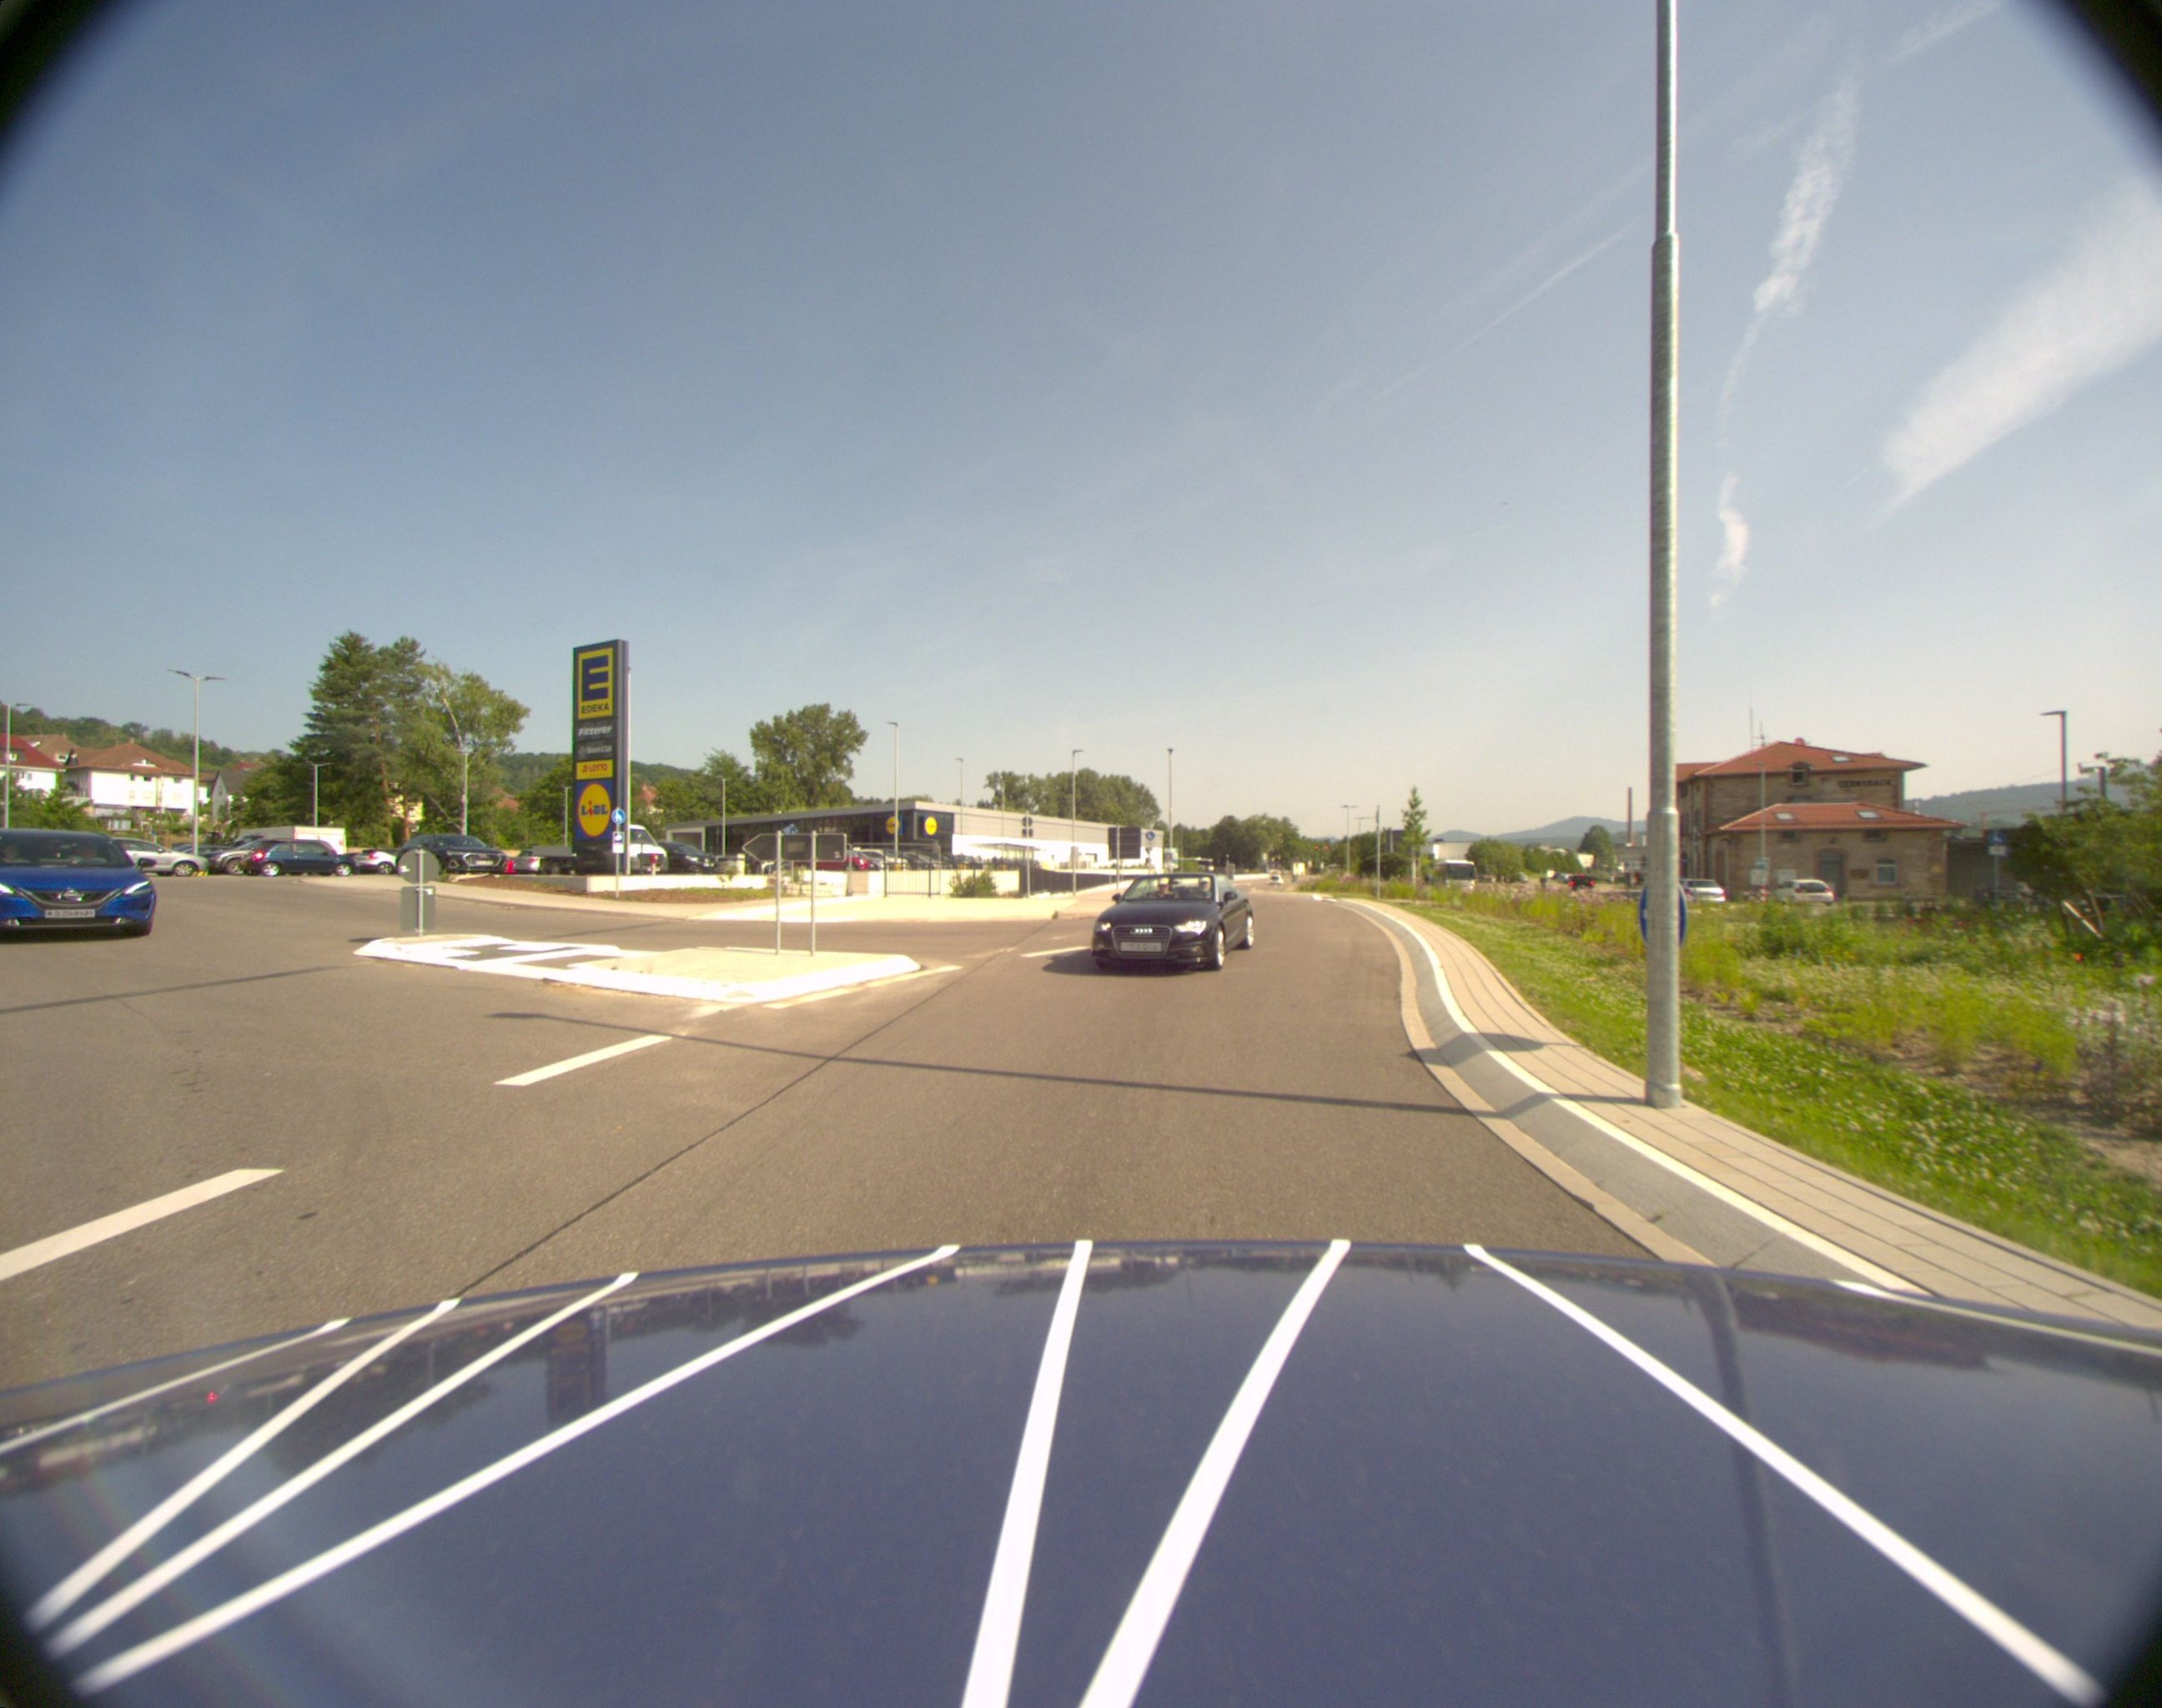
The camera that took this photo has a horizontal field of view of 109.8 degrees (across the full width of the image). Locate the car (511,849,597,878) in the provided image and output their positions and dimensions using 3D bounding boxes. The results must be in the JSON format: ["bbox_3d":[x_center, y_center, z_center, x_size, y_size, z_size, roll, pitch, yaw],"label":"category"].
[{"bbox_3d":[-30.365,0.559,43.902,1.662,1.564,3.793,-3,-1,21],"label":"car"}]

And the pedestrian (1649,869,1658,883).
[{"bbox_3d":[47.792,1.817,63.441,0.511,1.155,0.507,-3,-1,30],"label":"pedestrian"}]

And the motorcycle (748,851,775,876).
[{"bbox_3d":[-15.725,0.468,37.370,0.592,1.184,1.898,0,-2,-42],"label":"motorcycle"}]

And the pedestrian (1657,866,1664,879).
[{"bbox_3d":[51.071,1.632,66.959,0.371,1.155,0.507,-3,-1,30],"label":"pedestrian"}]

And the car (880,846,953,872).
[{"bbox_3d":[-10.984,0.337,50.890,4.411,1.564,1.705,-2,-1,4],"label":"car"}]

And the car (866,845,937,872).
[{"bbox_3d":[-11.438,0.294,48.480,3.996,1.564,1.705,-2,-1,4],"label":"car"}]

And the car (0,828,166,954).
[{"bbox_3d":[-16.929,0.497,12.438,4.339,1.653,1.891,4,1,32],"label":"car"}]

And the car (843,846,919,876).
[{"bbox_3d":[-11.957,0.435,45.467,3.996,1.564,1.705,-2,-1,4],"label":"car"}]

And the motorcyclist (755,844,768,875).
[{"bbox_3d":[-15.885,0.273,37.799,0.515,1.533,0.581,-2,-1,-16],"label":"motorcyclist"}]

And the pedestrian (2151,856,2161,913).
[{"bbox_3d":[38.409,1.049,26.597,0.858,2.001,0.709,-2,-1,-5],"label":"pedestrian"}]

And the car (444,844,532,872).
[{"bbox_3d":[-35.633,0.244,45.742,1.759,1.564,3.793,-3,-1,21],"label":"car"}]

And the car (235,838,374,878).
[{"bbox_3d":[-33.572,0.208,32.986,1.759,1.564,3.793,-3,-1,21],"label":"car"}]

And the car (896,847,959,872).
[{"bbox_3d":[-10.789,0.402,53.709,3.996,1.564,1.705,-2,-1,4],"label":"car"}]

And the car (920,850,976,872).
[{"bbox_3d":[-10.455,0.568,60.010,3.996,1.564,1.705,-2,-1,4],"label":"car"}]

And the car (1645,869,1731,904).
[{"bbox_3d":[29.066,1.527,36.529,1.672,1.522,4.005,1,0,14],"label":"car"}]

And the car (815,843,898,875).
[{"bbox_3d":[-12.476,0.297,42.359,4.017,1.564,1.780,-2,-1,7],"label":"car"}]

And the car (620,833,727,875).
[{"bbox_3d":[-18.126,0.032,33.797,4.466,1.592,1.836,-3,-1,24],"label":"car"}]

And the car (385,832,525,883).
[{"bbox_3d":[-21.896,0.166,26.560,4.849,1.521,1.926,-3,-1,26],"label":"car"}]

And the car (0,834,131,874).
[{"bbox_3d":[-38.648,0.034,28.548,1.523,1.365,3.370,-1,-1,13],"label":"car"}]

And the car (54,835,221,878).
[{"bbox_3d":[-35.334,0.118,28.583,1.522,1.436,3.638,-3,-1,22],"label":"car"}]

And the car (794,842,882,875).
[{"bbox_3d":[-12.814,0.254,40.136,4.017,1.564,1.780,-2,-1,7],"label":"car"}]

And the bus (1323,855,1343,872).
[{"bbox_3d":[49.081,1.758,147.925,2.863,3.173,9.133,-2,-1,22],"label":"bus"}]

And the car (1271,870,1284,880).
[{"bbox_3d":[28.378,2.983,109.719,1.779,1.389,4.005,-3,-1,16],"label":"car"}]

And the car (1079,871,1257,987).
[{"bbox_3d":[1.541,1.008,11.776,1.719,1.314,4.230,-2,0,21],"label":"car"}]

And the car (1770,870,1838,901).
[{"bbox_3d":[41.401,1.783,43.599,1.676,1.559,3.657,-3,0,24],"label":"car"}]

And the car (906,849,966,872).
[{"bbox_3d":[-10.748,0.501,56.514,3.996,1.564,1.705,-2,-1,4],"label":"car"}]

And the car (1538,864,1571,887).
[{"bbox_3d":[42.529,1.909,68.221,1.973,1.953,5.168,-3,-2,37],"label":"car"}]

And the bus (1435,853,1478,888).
[{"bbox_3d":[38.842,1.681,78.927,2.583,3.308,10.605,-3,-1,19],"label":"bus"}]

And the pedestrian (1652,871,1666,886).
[{"bbox_3d":[46.535,2.002,61.174,0.789,1.155,0.507,-3,-1,30],"label":"pedestrian"}]

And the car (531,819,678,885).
[{"bbox_3d":[-19.799,-0.018,31.515,6.078,2.369,2.064,-3,-1,24],"label":"car"}]

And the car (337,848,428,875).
[{"bbox_3d":[-43.738,0.456,47.670,1.759,1.564,3.793,-3,-1,21],"label":"car"}]
